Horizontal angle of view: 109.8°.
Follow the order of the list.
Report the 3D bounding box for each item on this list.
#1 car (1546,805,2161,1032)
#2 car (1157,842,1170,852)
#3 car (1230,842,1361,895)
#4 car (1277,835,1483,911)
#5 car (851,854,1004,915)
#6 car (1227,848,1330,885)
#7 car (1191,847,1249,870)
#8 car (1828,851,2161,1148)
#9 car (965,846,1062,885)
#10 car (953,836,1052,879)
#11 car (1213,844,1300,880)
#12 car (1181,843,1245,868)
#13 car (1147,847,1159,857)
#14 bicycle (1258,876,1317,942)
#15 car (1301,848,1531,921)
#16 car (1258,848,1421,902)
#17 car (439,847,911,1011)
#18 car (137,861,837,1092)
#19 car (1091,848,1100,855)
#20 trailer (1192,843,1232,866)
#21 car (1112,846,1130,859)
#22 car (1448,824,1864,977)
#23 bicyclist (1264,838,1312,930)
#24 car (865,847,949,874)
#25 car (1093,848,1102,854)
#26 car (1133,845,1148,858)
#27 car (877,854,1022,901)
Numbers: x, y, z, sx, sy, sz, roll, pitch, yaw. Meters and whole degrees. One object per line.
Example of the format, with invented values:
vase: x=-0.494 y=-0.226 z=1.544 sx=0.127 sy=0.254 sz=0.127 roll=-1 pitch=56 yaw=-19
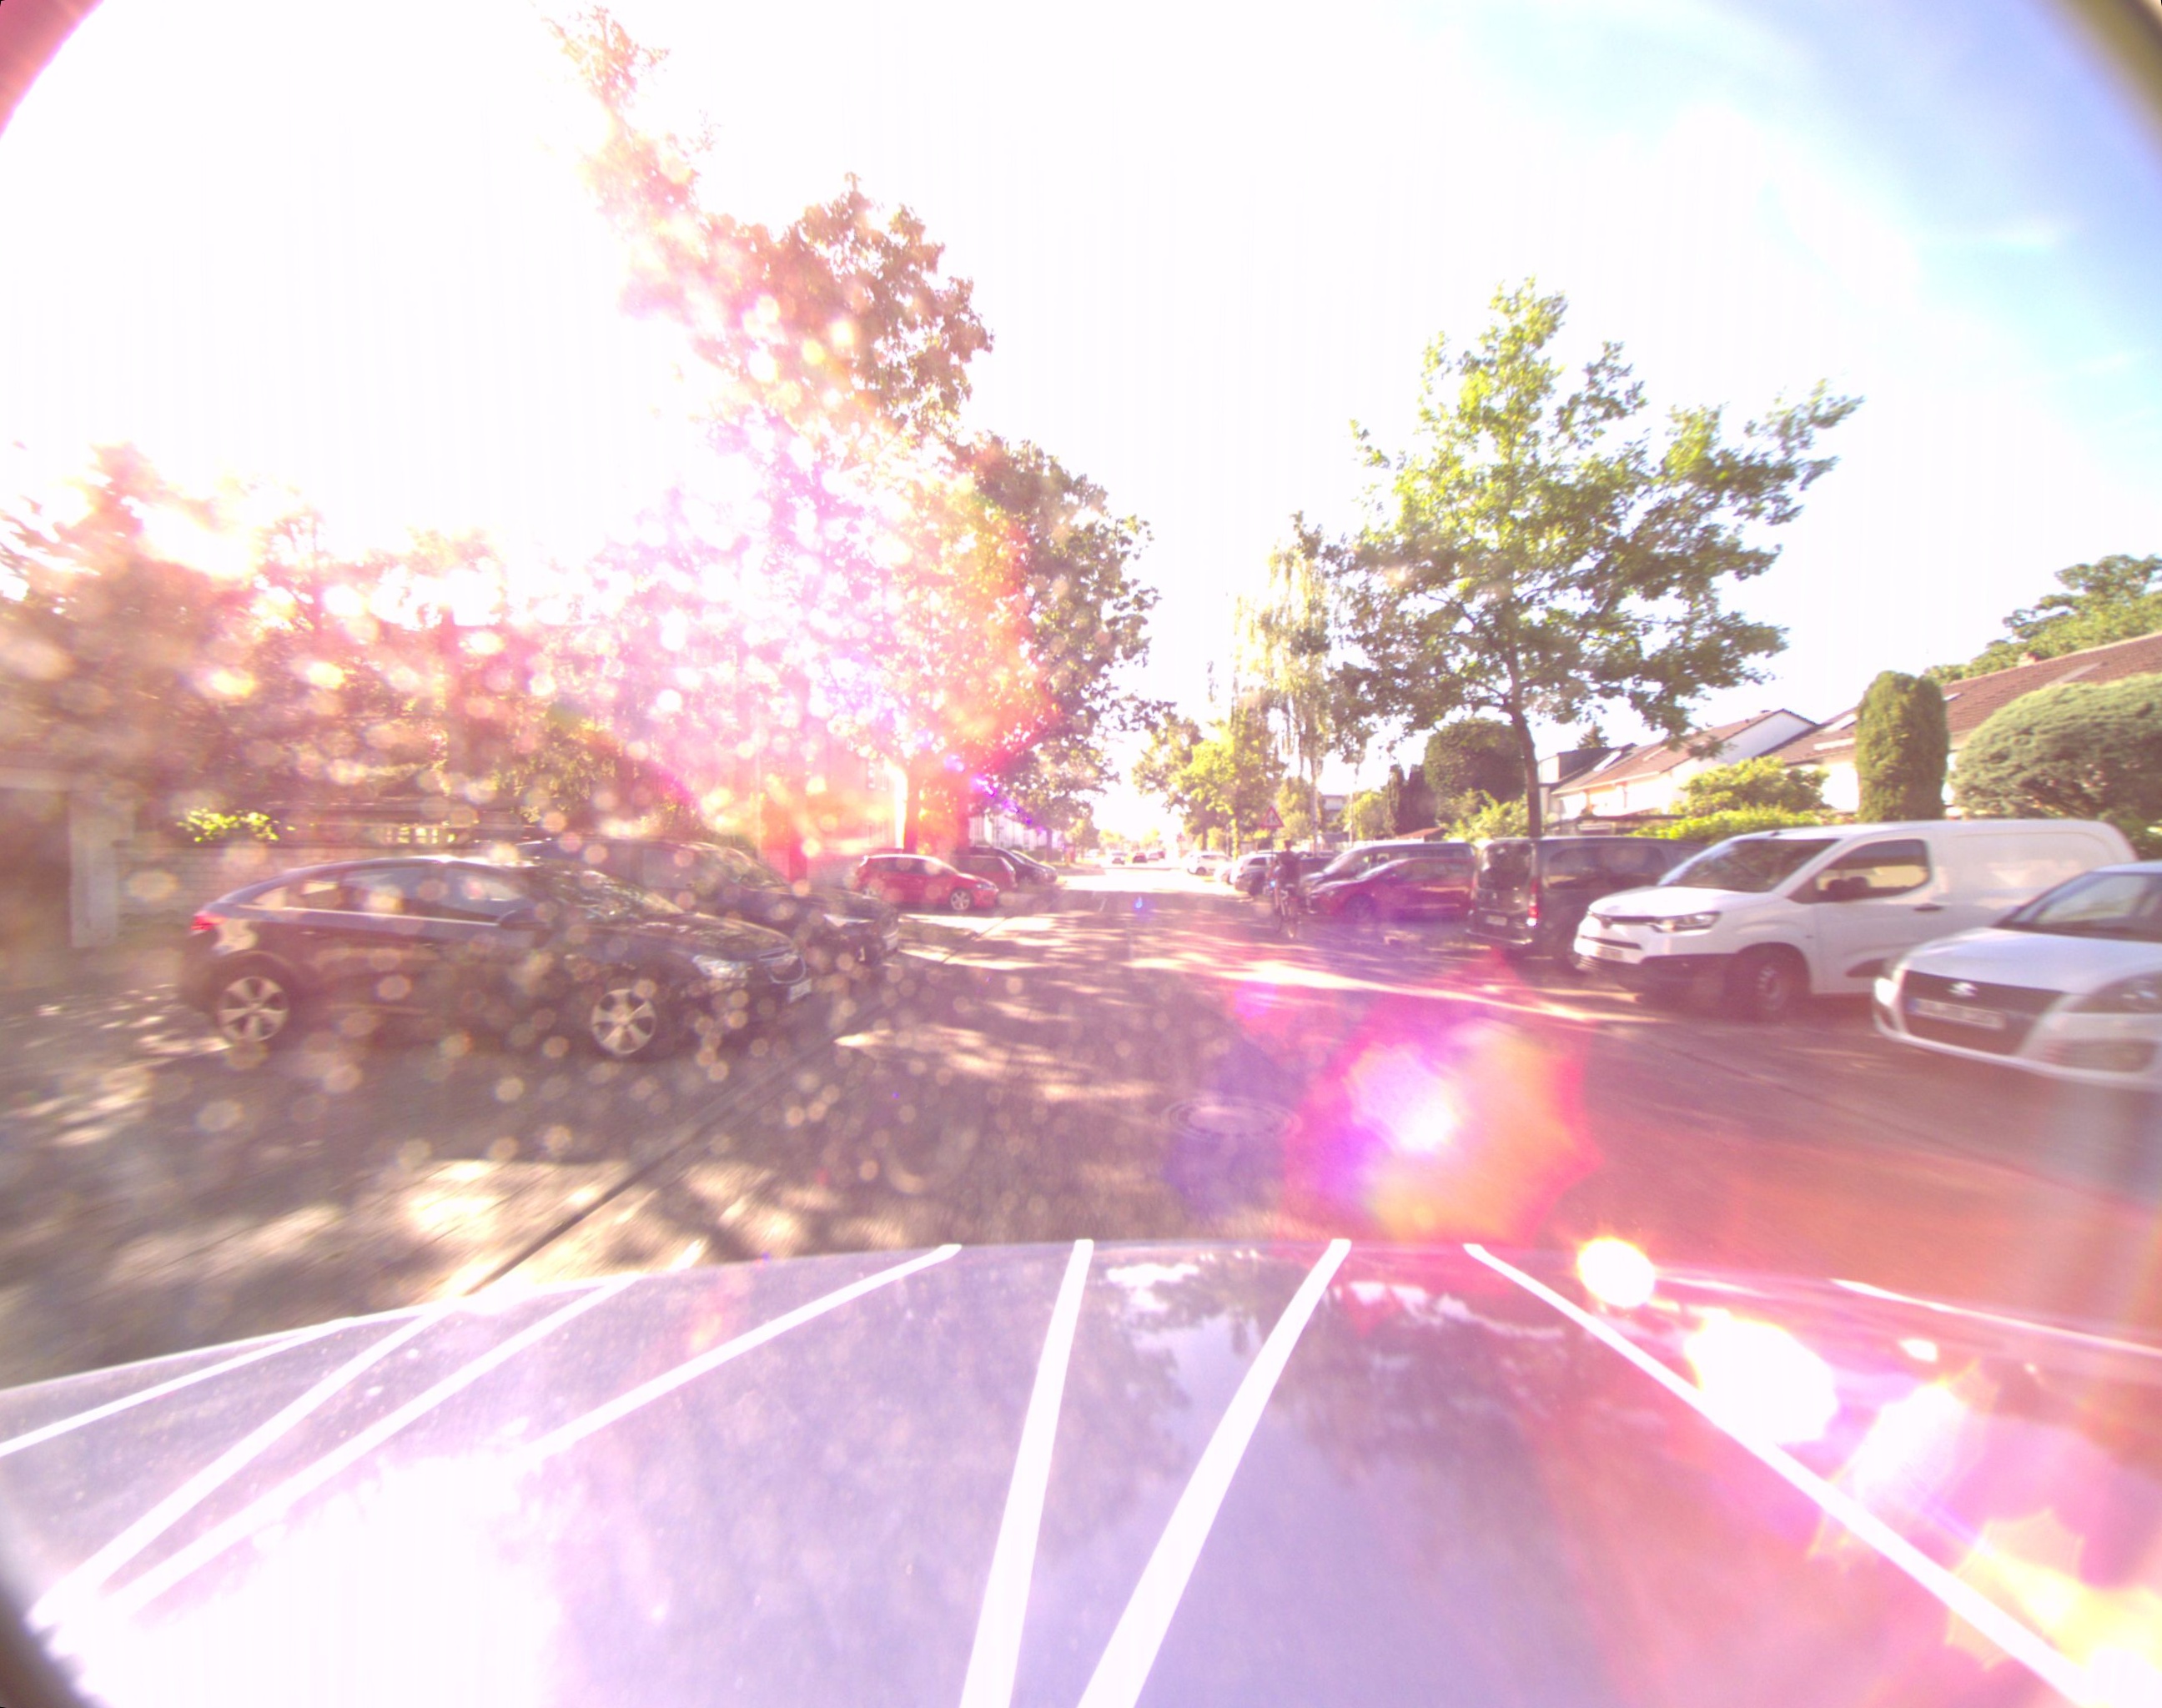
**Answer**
car: x=7.402 y=0.550 z=7.655 sx=4.248 sy=1.933 sz=1.999 roll=-1 pitch=1 yaw=-2
car: x=12.714 y=-1.127 z=117.338 sx=1.764 sy=1.470 sz=3.851 roll=2 pitch=2 yaw=5
car: x=7.633 y=0.491 z=27.336 sx=4.220 sy=1.714 sz=1.760 roll=-2 pitch=1 yaw=2
car: x=7.742 y=0.474 z=19.978 sx=4.685 sy=1.758 sz=1.795 roll=-2 pitch=1 yaw=1
car: x=-4.115 y=0.789 z=20.775 sx=3.786 sy=1.476 sz=1.755 roll=1 pitch=2 yaw=2
car: x=8.363 y=0.527 z=32.445 sx=4.010 sy=1.506 sz=1.795 roll=0 pitch=1 yaw=3
car: x=9.095 y=0.274 z=49.802 sx=3.523 sy=1.487 sz=1.708 roll=-1 pitch=1 yaw=0
car: x=7.690 y=0.762 z=4.992 sx=3.998 sy=1.508 sz=1.690 roll=-2 pitch=1 yaw=-2
car: x=-3.284 y=0.529 z=37.482 sx=4.513 sy=1.670 sz=1.879 roll=2 pitch=2 yaw=1
car: x=-3.519 y=0.146 z=34.471 sx=4.221 sy=1.771 sz=1.789 roll=2 pitch=1 yaw=2
car: x=8.620 y=0.370 z=37.613 sx=3.948 sy=1.604 sz=1.706 roll=-2 pitch=1 yaw=4
car: x=9.064 y=0.087 z=52.359 sx=3.964 sy=1.566 sz=1.921 roll=-2 pitch=2 yaw=-4
car: x=10.425 y=-0.311 z=109.952 sx=1.764 sy=1.390 sz=3.852 roll=-1 pitch=1 yaw=5
bicycle: x=3.905 y=1.009 z=14.496 sx=0.598 sy=1.052 sz=1.986 roll=2 pitch=1 yaw=2
car: x=7.538 y=0.670 z=17.458 sx=4.486 sy=1.491 sz=1.837 roll=-1 pitch=1 yaw=4
car: x=7.649 y=0.590 z=22.736 sx=4.281 sy=1.416 sz=1.723 roll=-2 pitch=1 yaw=2
car: x=-4.528 y=0.788 z=8.991 sx=4.585 sy=1.637 sz=1.838 roll=1 pitch=1 yaw=1
car: x=-4.498 y=0.877 z=6.291 sx=4.330 sy=1.521 sz=1.840 roll=1 pitch=1 yaw=0
car: x=3.271 y=-0.534 z=173.296 sx=1.944 sy=1.412 sz=4.000 roll=0 pitch=2 yaw=4
trailer: x=9.916 y=0.004 z=57.459 sx=2.766 sy=1.638 sz=1.298 roll=-1 pitch=3 yaw=-2
car: x=4.543 y=-0.196 z=85.405 sx=1.877 sy=1.469 sz=3.851 roll=-1 pitch=1 yaw=4
car: x=7.656 y=0.562 z=10.437 sx=4.250 sy=1.760 sz=1.967 roll=-2 pitch=1 yaw=-2
bicyclist: x=3.917 y=0.543 z=14.453 sx=0.597 sy=1.664 sz=0.975 roll=2 pitch=2 yaw=2
car: x=-11.694 y=0.422 z=51.401 sx=5.207 sy=1.805 sz=1.912 roll=-1 pitch=1 yaw=-1
car: x=3.959 y=-0.653 z=181.821 sx=1.830 sy=1.324 sz=3.678 roll=0 pitch=1 yaw=6
car: x=7.516 y=-0.322 z=95.964 sx=1.741 sy=1.532 sz=3.948 roll=0 pitch=1 yaw=7
car: x=-4.341 y=0.753 z=25.541 sx=4.513 sy=1.437 sz=1.838 roll=1 pitch=1 yaw=2
